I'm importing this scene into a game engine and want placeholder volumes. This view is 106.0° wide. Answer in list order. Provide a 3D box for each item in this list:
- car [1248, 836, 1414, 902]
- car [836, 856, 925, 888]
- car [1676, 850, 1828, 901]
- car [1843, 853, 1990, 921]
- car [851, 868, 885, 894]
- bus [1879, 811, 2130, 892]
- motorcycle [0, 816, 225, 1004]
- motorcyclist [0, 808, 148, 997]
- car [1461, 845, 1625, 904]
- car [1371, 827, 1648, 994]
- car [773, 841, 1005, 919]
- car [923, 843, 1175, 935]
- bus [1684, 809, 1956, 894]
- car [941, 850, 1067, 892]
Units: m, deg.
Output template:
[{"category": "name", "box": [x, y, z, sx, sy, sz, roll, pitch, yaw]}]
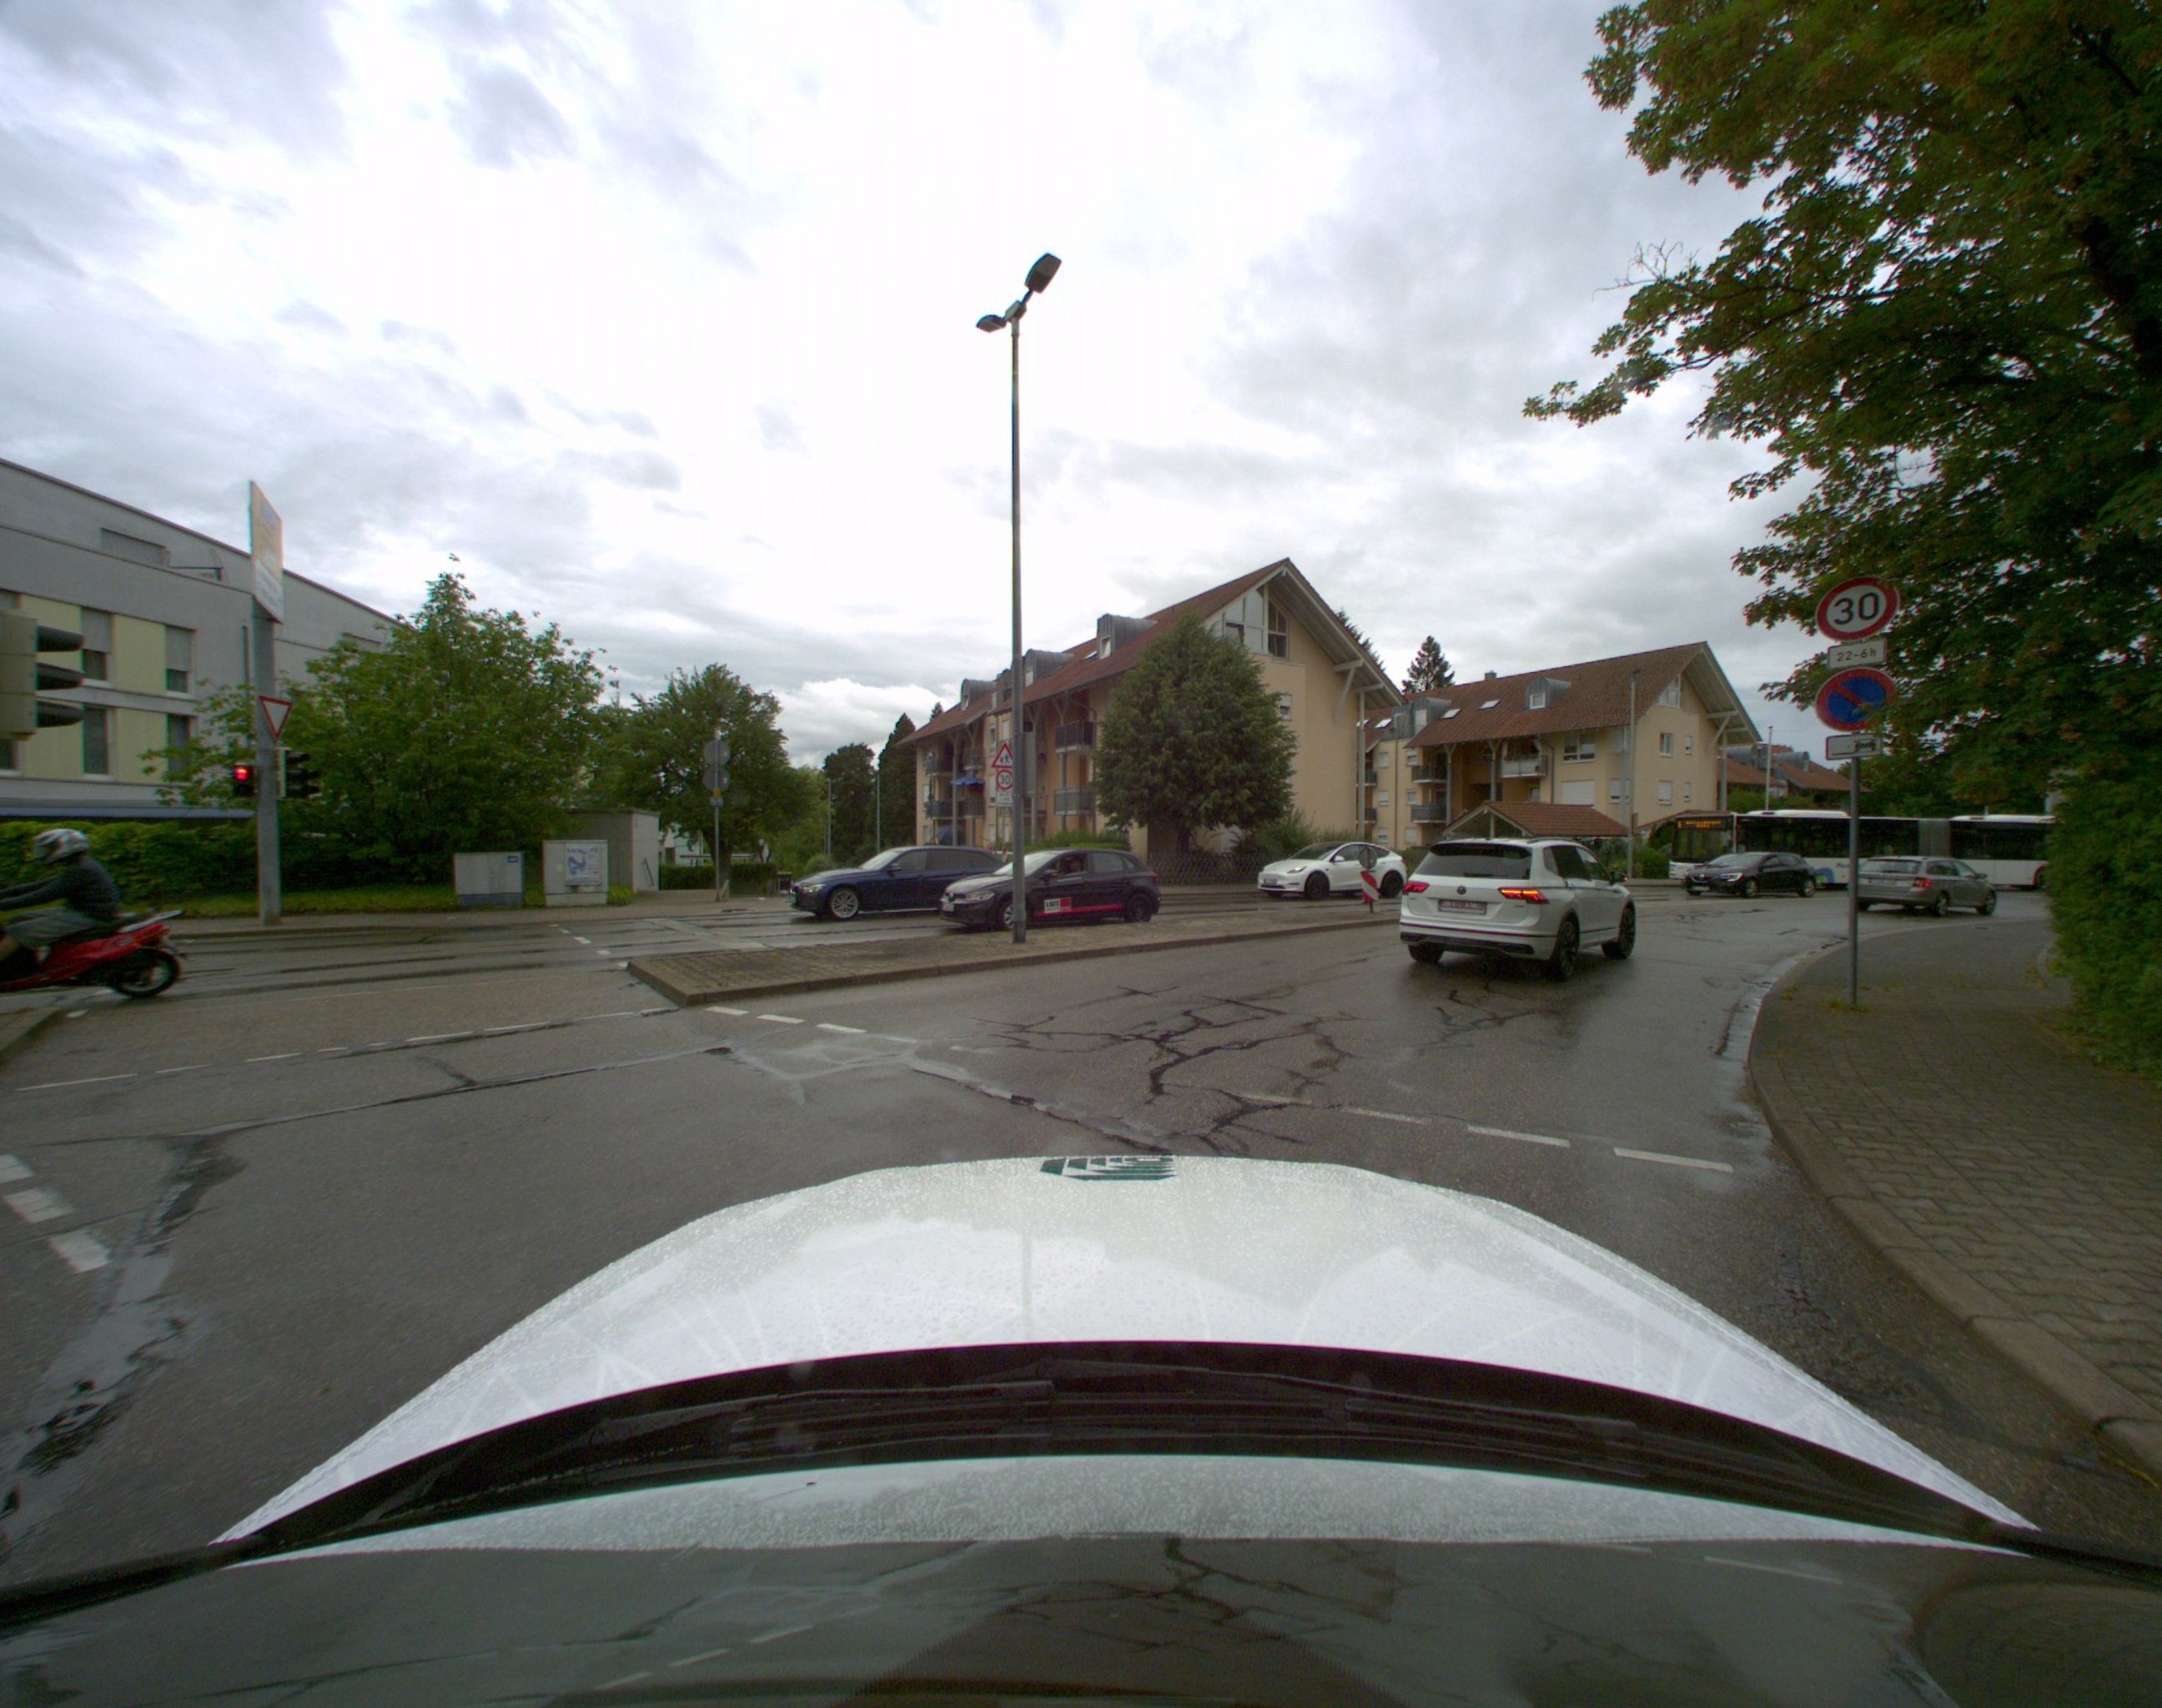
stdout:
[{"category": "car", "box": [7.268, 0.371, 23.555, 4.613, 1.725, 1.936, 0, 2, -29]}, {"category": "car", "box": [-15.290, 1.365, 62.106, 6.035, 2.201, 2.827, 2, 0, -29]}, {"category": "car", "box": [21.198, 0.637, 25.735, 4.176, 1.519, 1.943, 0, 0, -21]}, {"category": "car", "box": [21.673, 0.848, 21.094, 4.013, 1.509, 1.754, 2, 2, -31]}, {"category": "car", "box": [-12.976, 1.611, 49.482, 1.766, 1.408, 3.838, -1, 1, -19]}, {"category": "bus", "box": [36.648, -0.103, 32.401, 8.376, 3.000, 2.586, 0, 0, -9]}, {"category": "motorcycle", "box": [-9.404, 0.481, 7.539, 0.787, 1.624, 1.934, 0, 0, 36]}, {"category": "motorcyclist", "box": [-9.397, 0.416, 7.523, 0.763, 1.624, 0.945, 0, 0, 36]}, {"category": "car", "box": [12.668, 0.553, 22.336, 3.938, 1.487, 1.816, 2, 0, -21]}, {"category": "car", "box": [5.837, 0.554, 10.863, 4.289, 1.721, 1.904, -1, 4, -43]}, {"category": "car", "box": [-3.917, 0.496, 16.929, 4.370, 1.435, 1.741, 1, -1, -35]}, {"category": "car", "box": [-0.519, 0.536, 14.708, 4.218, 1.408, 1.804, -1, 1, -33]}, {"category": "bus", "box": [27.983, -0.099, 30.919, 9.172, 3.000, 2.547, 0, 0, -10]}, {"category": "car", "box": [-2.799, 0.601, 29.618, 4.207, 1.439, 1.808, 0, -1, -23]}]
